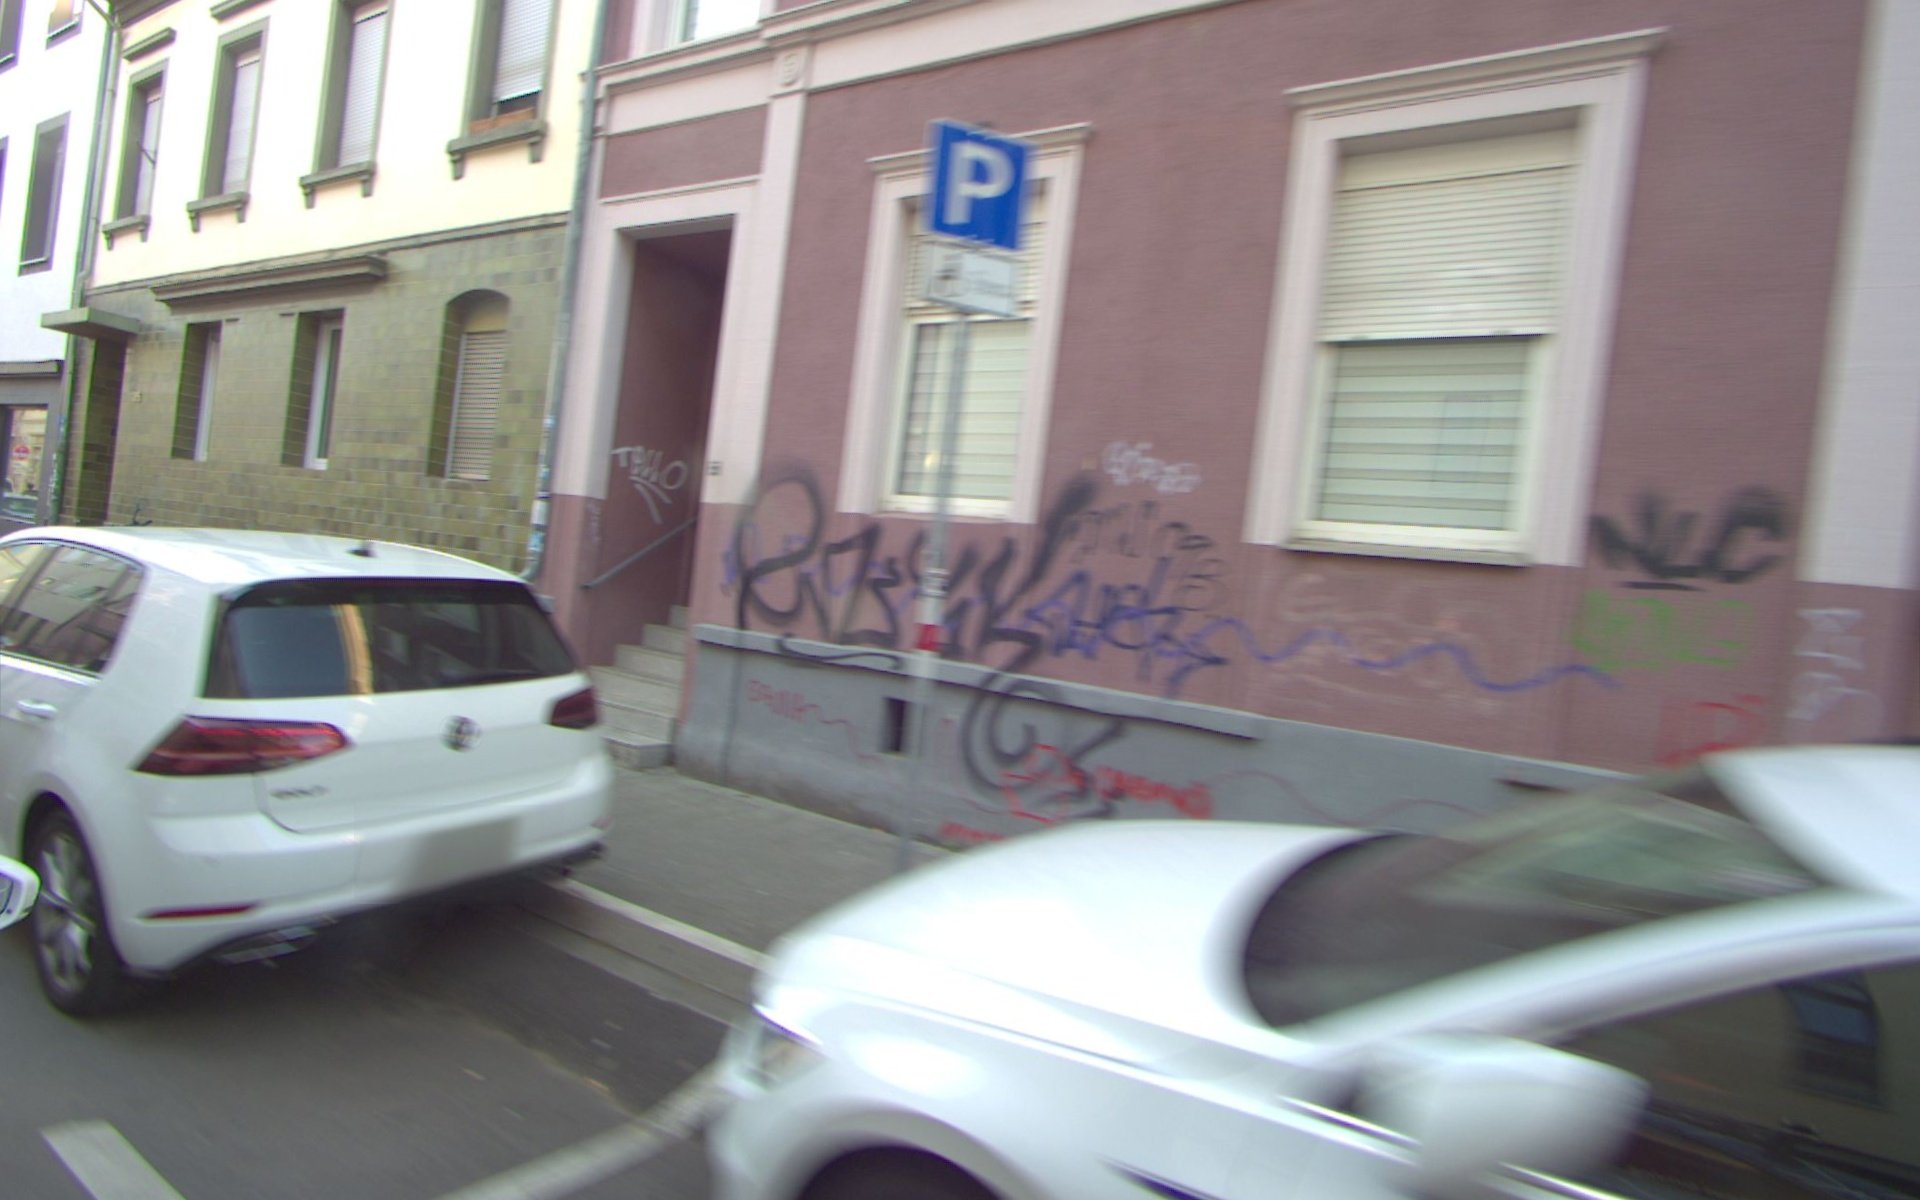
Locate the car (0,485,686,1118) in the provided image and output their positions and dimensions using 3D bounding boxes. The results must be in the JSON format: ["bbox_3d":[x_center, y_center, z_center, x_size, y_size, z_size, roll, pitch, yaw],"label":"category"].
[{"bbox_3d":[-3.269,0.391,4.289,3.979,1.563,1.687,6,1,31],"label":"car"}]

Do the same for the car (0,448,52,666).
[{"bbox_3d":[-9.818,-0.607,8.524,4.293,1.727,1.920,7,0,31],"label":"car"}]

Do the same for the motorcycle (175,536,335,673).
[{"bbox_3d":[-6.767,0.023,9.631,1.746,1.110,0.558,6,2,31],"label":"motorcycle"}]

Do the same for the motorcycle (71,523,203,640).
[{"bbox_3d":[-9.019,-0.215,11.001,1.847,1.110,0.501,6,2,31],"label":"motorcycle"}]

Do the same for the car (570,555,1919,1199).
[{"bbox_3d":[1.652,0.945,1.483,4.552,1.563,1.698,6,1,31],"label":"car"}]
